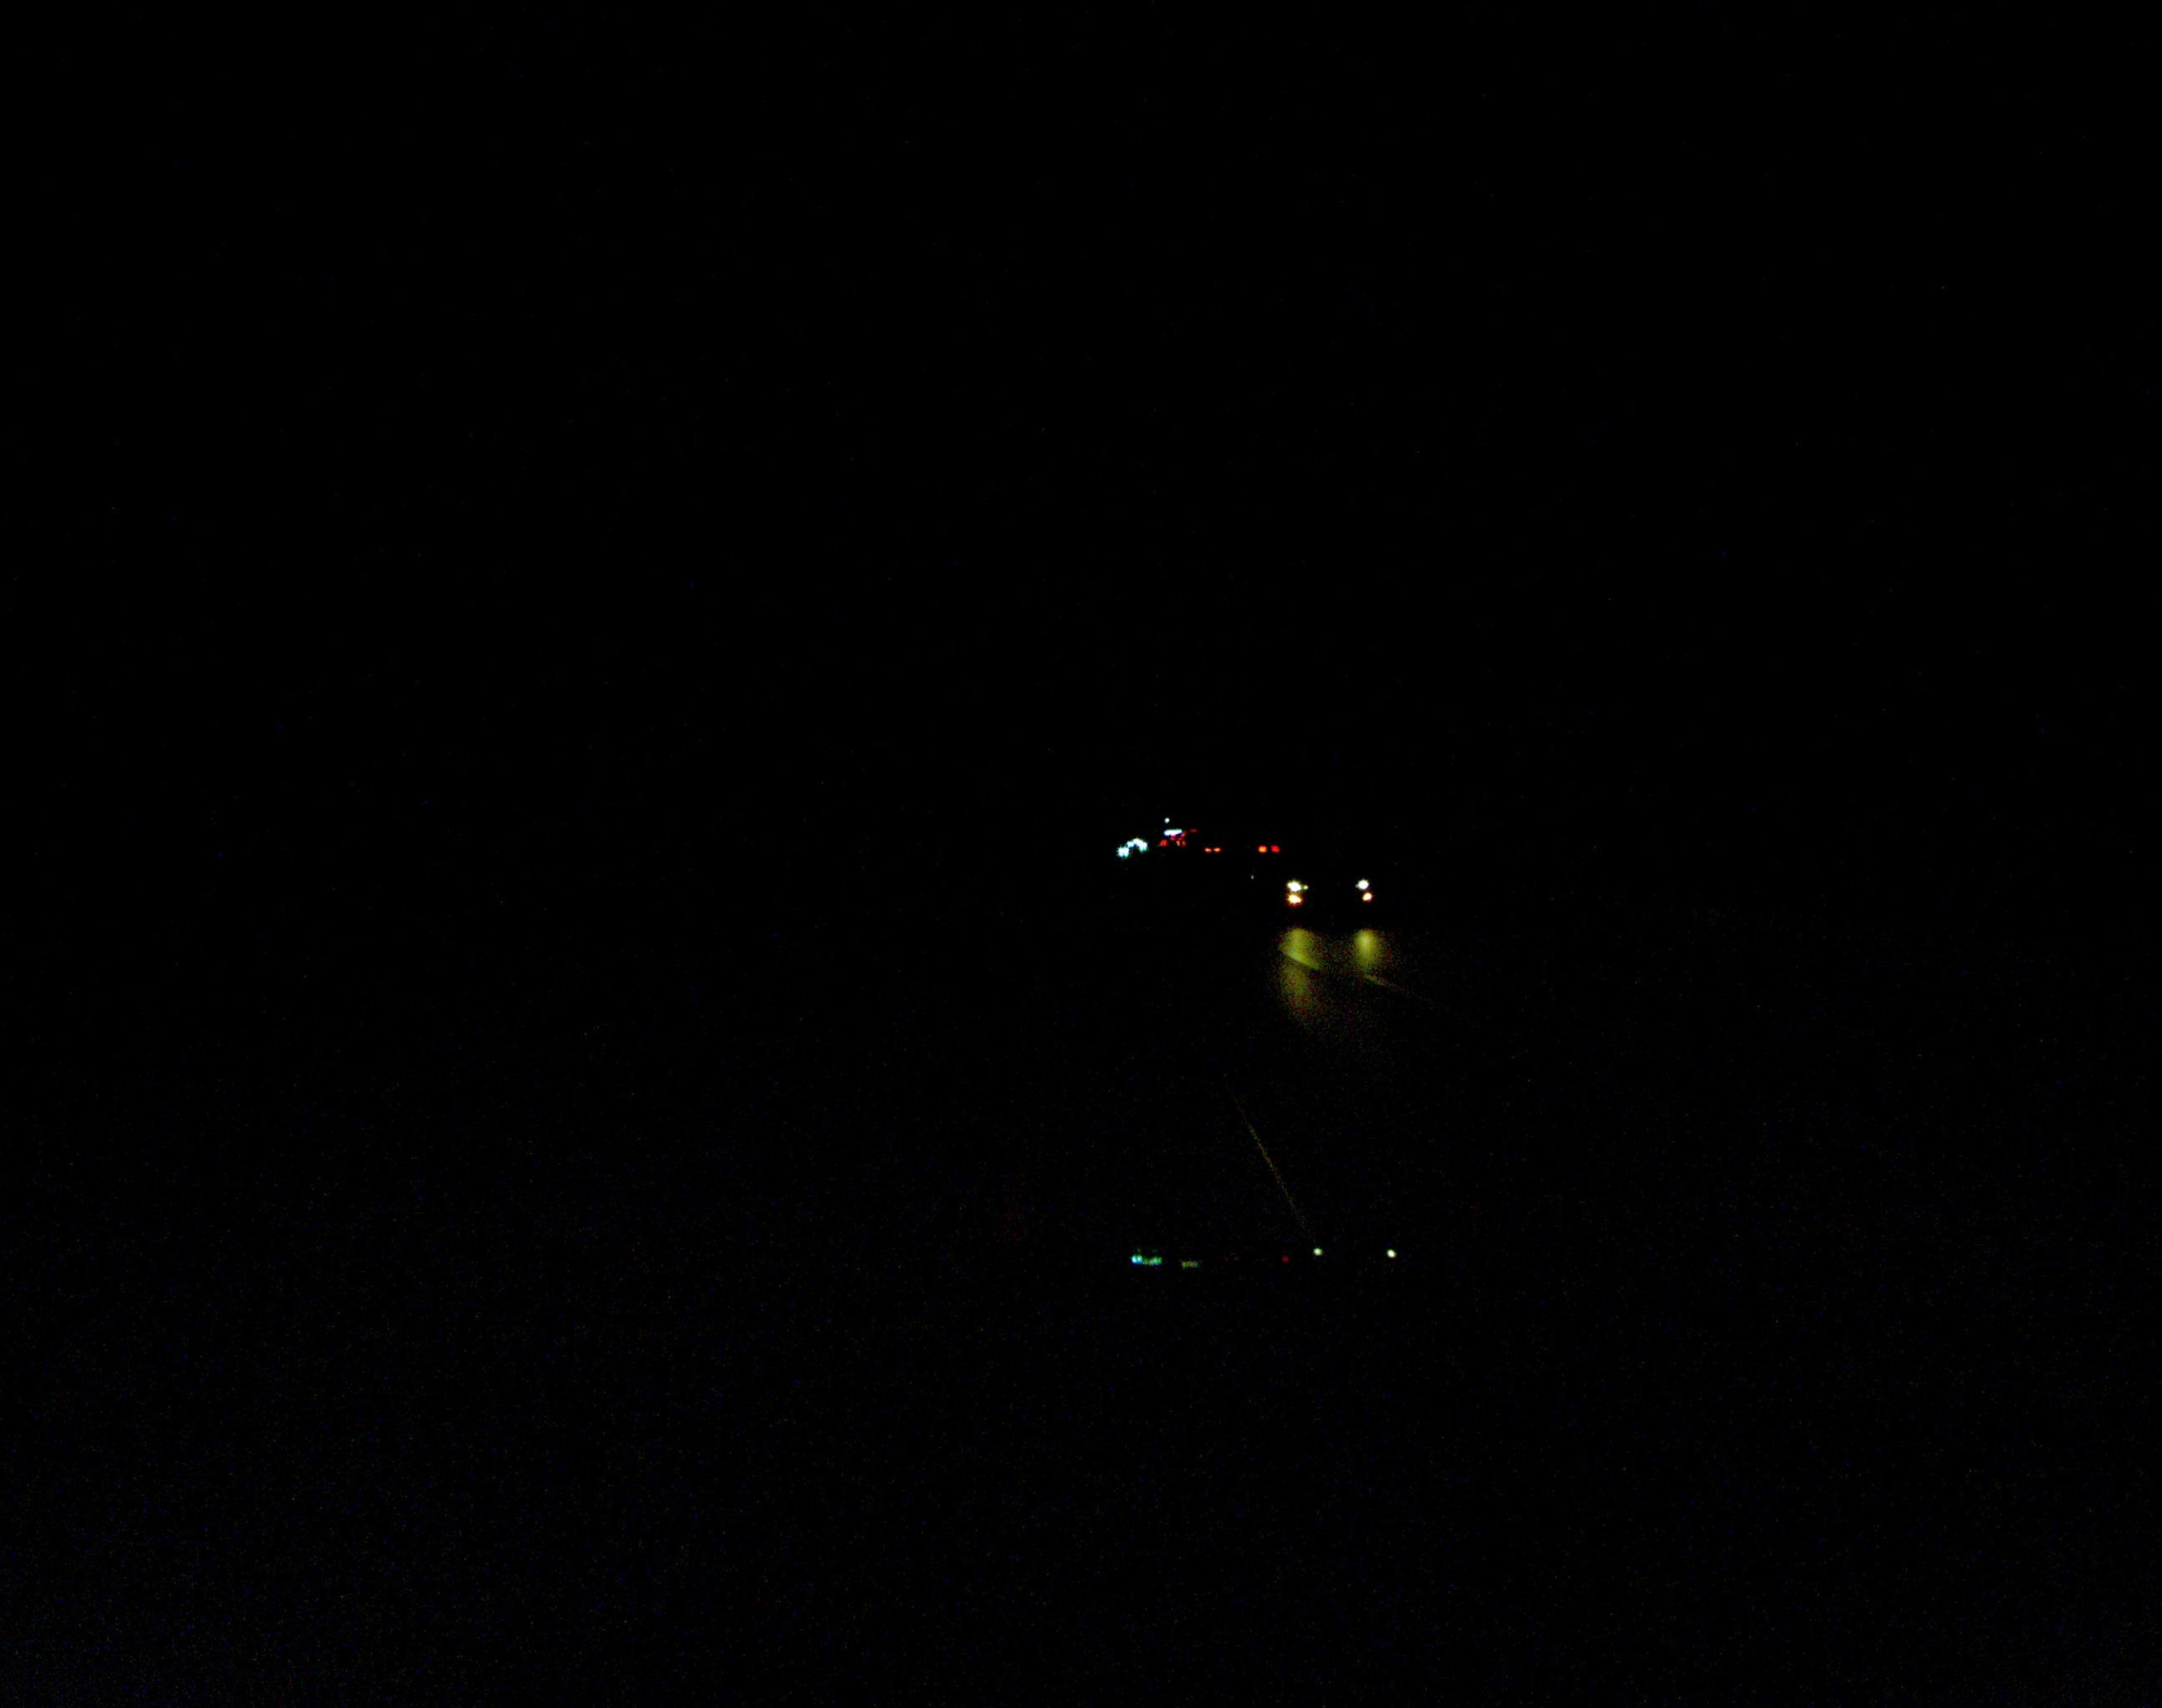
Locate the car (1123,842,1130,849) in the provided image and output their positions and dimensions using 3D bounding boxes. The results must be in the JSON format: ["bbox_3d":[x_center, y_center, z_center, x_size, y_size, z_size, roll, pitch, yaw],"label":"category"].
[{"bbox_3d":[12.817,-2.436,215.009,1.998,1.653,3.999,-2,2,2],"label":"car"}]

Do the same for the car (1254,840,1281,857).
[{"bbox_3d":[19.998,-0.622,81.701,1.827,1.684,4.672,-2,2,2],"label":"car"}]

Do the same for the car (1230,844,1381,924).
[{"bbox_3d":[5.207,0.583,18.581,1.998,1.510,5.649,-3,2,0],"label":"car"}]

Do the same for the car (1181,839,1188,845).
[{"bbox_3d":[36.289,-4.222,266.492,2.058,1.771,5.941,-3,1,4],"label":"car"}]

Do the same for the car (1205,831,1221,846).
[{"bbox_3d":[28.204,-3.270,162.708,2.657,3.067,8.217,-3,0,5],"label":"car"}]
